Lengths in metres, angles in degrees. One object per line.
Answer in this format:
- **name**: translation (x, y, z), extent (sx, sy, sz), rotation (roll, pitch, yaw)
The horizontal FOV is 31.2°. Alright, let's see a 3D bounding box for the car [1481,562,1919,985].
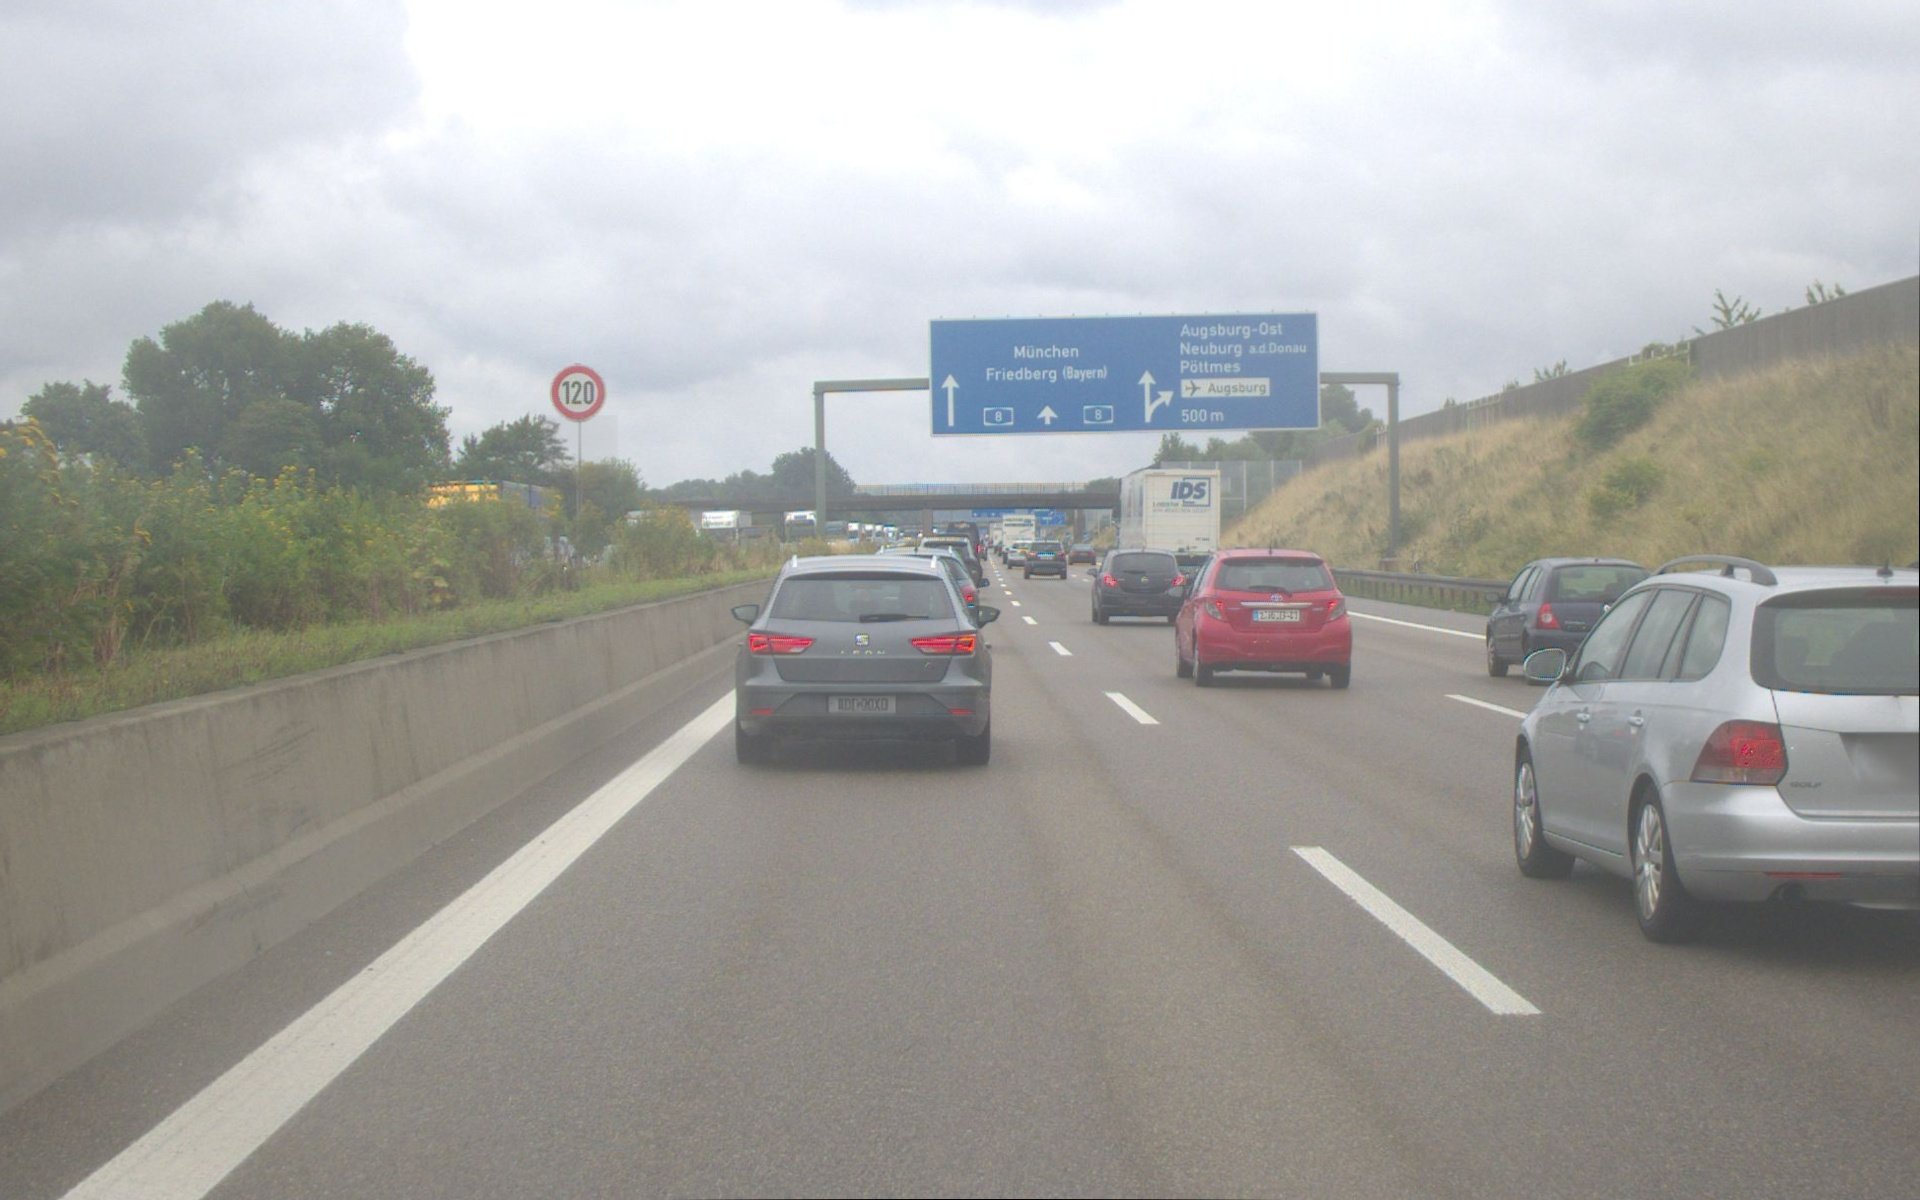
- **car**: translation (3.383, 0.578, 14.182), extent (1.742, 1.420, 4.517), rotation (-1, 1, 0)

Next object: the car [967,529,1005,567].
- **car**: translation (1.390, -2.822, 186.532), extent (1.993, 2.007, 4.242), rotation (1, 1, 0)

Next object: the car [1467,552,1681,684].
- **car**: translation (6.915, 0.172, 39.048), extent (1.702, 1.396, 3.875), rotation (1, 1, 0)

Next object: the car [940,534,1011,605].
- **car**: translation (0.392, -0.828, 91.564), extent (1.704, 1.790, 3.855), rotation (-2, 1, -1)

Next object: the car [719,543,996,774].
- **car**: translation (-0.704, 0.357, 24.259), extent (1.768, 1.462, 4.000), rotation (1, 1, -1)

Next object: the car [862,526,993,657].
- **car**: translation (-0.451, -0.138, 48.685), extent (1.754, 1.744, 4.000), rotation (1, 1, 0)

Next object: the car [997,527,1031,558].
- **car**: translation (3.579, -3.852, 229.499), extent (1.993, 2.007, 4.001), rotation (-1, 1, -3)

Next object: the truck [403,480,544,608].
- **truck**: translation (-17.422, -1.982, 123.915), extent (3.412, 4.349, 10.991), rotation (1, 1, 0)

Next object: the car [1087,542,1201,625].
- **car**: translation (3.501, -0.341, 66.028), extent (1.921, 1.516, 4.622), rotation (0, 1, 0)

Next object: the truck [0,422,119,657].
- **truck**: translation (-17.709, -1.068, 60.080), extent (3.184, 3.953, 10.811), rotation (1, 1, 1)

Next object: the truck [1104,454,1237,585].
- **truck**: translation (7.381, -2.777, 123.309), extent (3.283, 4.280, 19.034), rotation (1, 1, -1)

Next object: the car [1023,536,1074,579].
- **car**: translation (3.595, -1.728, 140.542), extent (1.845, 1.681, 4.000), rotation (1, 1, -2)

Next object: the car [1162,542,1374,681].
- **car**: translation (3.377, 0.080, 38.491), extent (1.891, 1.442, 4.685), rotation (0, 1, -1)

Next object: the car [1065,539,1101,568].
- **car**: translation (7.979, -3.034, 223.401), extent (1.993, 1.853, 4.391), rotation (0, 1, -2)
